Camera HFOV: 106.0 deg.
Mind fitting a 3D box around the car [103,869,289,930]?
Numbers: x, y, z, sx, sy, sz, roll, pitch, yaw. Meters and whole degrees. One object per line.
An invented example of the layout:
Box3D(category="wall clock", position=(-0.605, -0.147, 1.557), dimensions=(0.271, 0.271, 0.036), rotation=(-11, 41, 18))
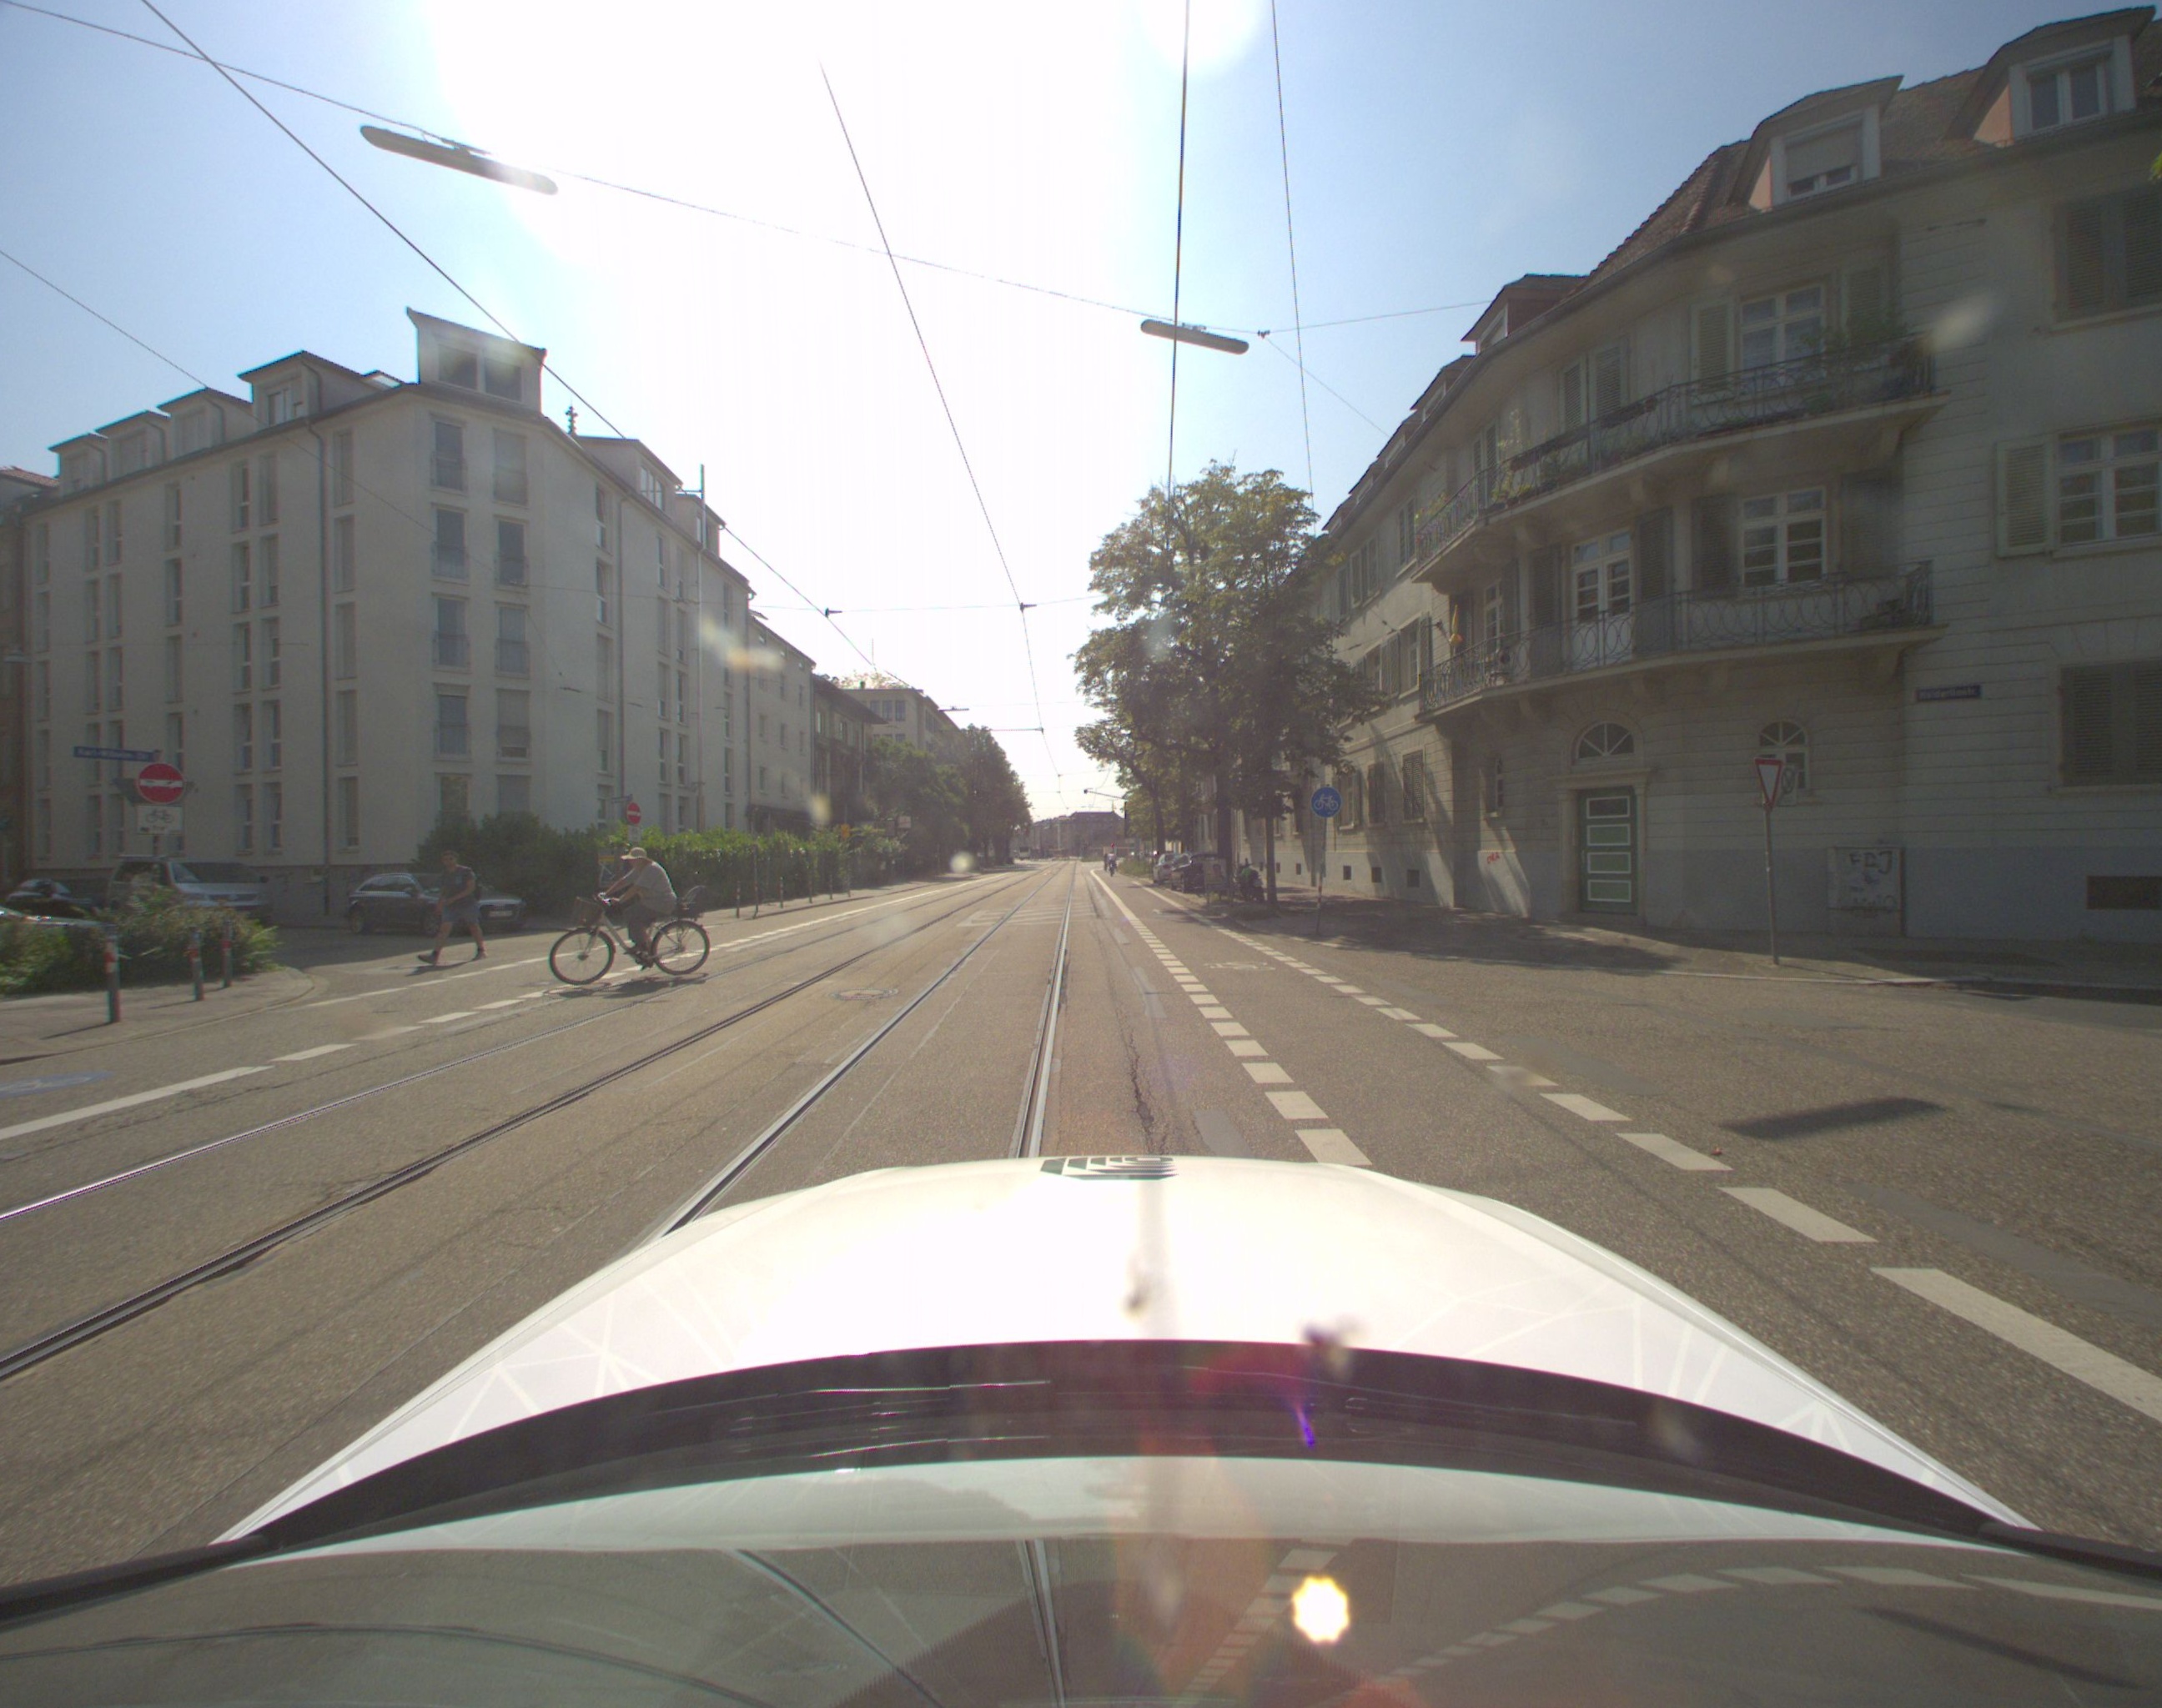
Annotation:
Box3D(category="car", position=(-24.472, 1.250, 22.542), dimensions=(4.105, 1.498, 1.990), rotation=(-2, 0, 19))

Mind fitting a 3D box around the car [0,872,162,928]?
Box3D(category="car", position=(-29.916, 1.344, 24.214), dimensions=(4.105, 1.498, 1.990), rotation=(-1, 0, 19))

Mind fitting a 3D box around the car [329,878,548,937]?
Box3D(category="car", position=(-14.914, 1.221, 18.941), dimensions=(4.195, 1.184, 2.010), rotation=(-2, 0, 19))

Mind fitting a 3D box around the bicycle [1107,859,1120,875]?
Box3D(category="bicycle", position=(2.146, 0.866, 54.451), dimensions=(0.756, 0.991, 2.297), rotation=(-1, 0, -1))

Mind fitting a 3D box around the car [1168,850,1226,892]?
Box3D(category="car", position=(4.333, 0.617, 30.867), dimensions=(1.579, 1.464, 3.412), rotation=(-1, 0, -2))

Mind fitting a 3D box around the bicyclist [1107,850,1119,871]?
Box3D(category="bicyclist", position=(2.140, 0.442, 54.464), dimensions=(0.756, 1.391, 0.779), rotation=(-1, 0, -1))

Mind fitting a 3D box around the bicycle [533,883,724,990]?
Box3D(category="bicycle", position=(-5.716, 0.986, 10.347), dimensions=(2.050, 1.151, 0.777), rotation=(-1, 1, -35))

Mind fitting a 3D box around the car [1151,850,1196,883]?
Box3D(category="car", position=(4.274, 0.586, 38.195), dimensions=(1.579, 1.464, 3.464), rotation=(-1, 0, -2))

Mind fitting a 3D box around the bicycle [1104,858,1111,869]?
Box3D(category="bicycle", position=(2.307, 0.822, 70.796), dimensions=(0.585, 0.939, 2.173), rotation=(-1, 0, 2))

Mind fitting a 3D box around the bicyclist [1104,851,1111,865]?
Box3D(category="bicyclist", position=(2.299, 0.350, 70.790), dimensions=(0.576, 1.279, 0.471), rotation=(-1, 0, 1))

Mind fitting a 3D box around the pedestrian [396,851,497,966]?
Box3D(category="pedestrian", position=(-10.210, 0.842, 13.143), dimensions=(0.777, 1.756, 1.040), rotation=(-1, 0, 0))

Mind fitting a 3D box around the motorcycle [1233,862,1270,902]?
Box3D(category="motorcycle", position=(4.890, 0.781, 23.465), dimensions=(0.547, 1.068, 2.330), rotation=(-1, 0, 0))

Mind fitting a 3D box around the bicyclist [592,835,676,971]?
Box3D(category="bicyclist", position=(-5.695, 0.580, 10.366), dimensions=(0.830, 1.642, 0.777), rotation=(-1, 0, -36))

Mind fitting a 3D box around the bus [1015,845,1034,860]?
Box3D(category="bus", position=(-13.011, -0.335, 188.907), dimensions=(3.724, 3.364, 15.113), rotation=(-1, 0, -1))

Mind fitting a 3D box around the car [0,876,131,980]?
Box3D(category="car", position=(-15.484, 1.040, 10.500), dimensions=(1.672, 1.343, 3.834), rotation=(-2, 0, 21))
